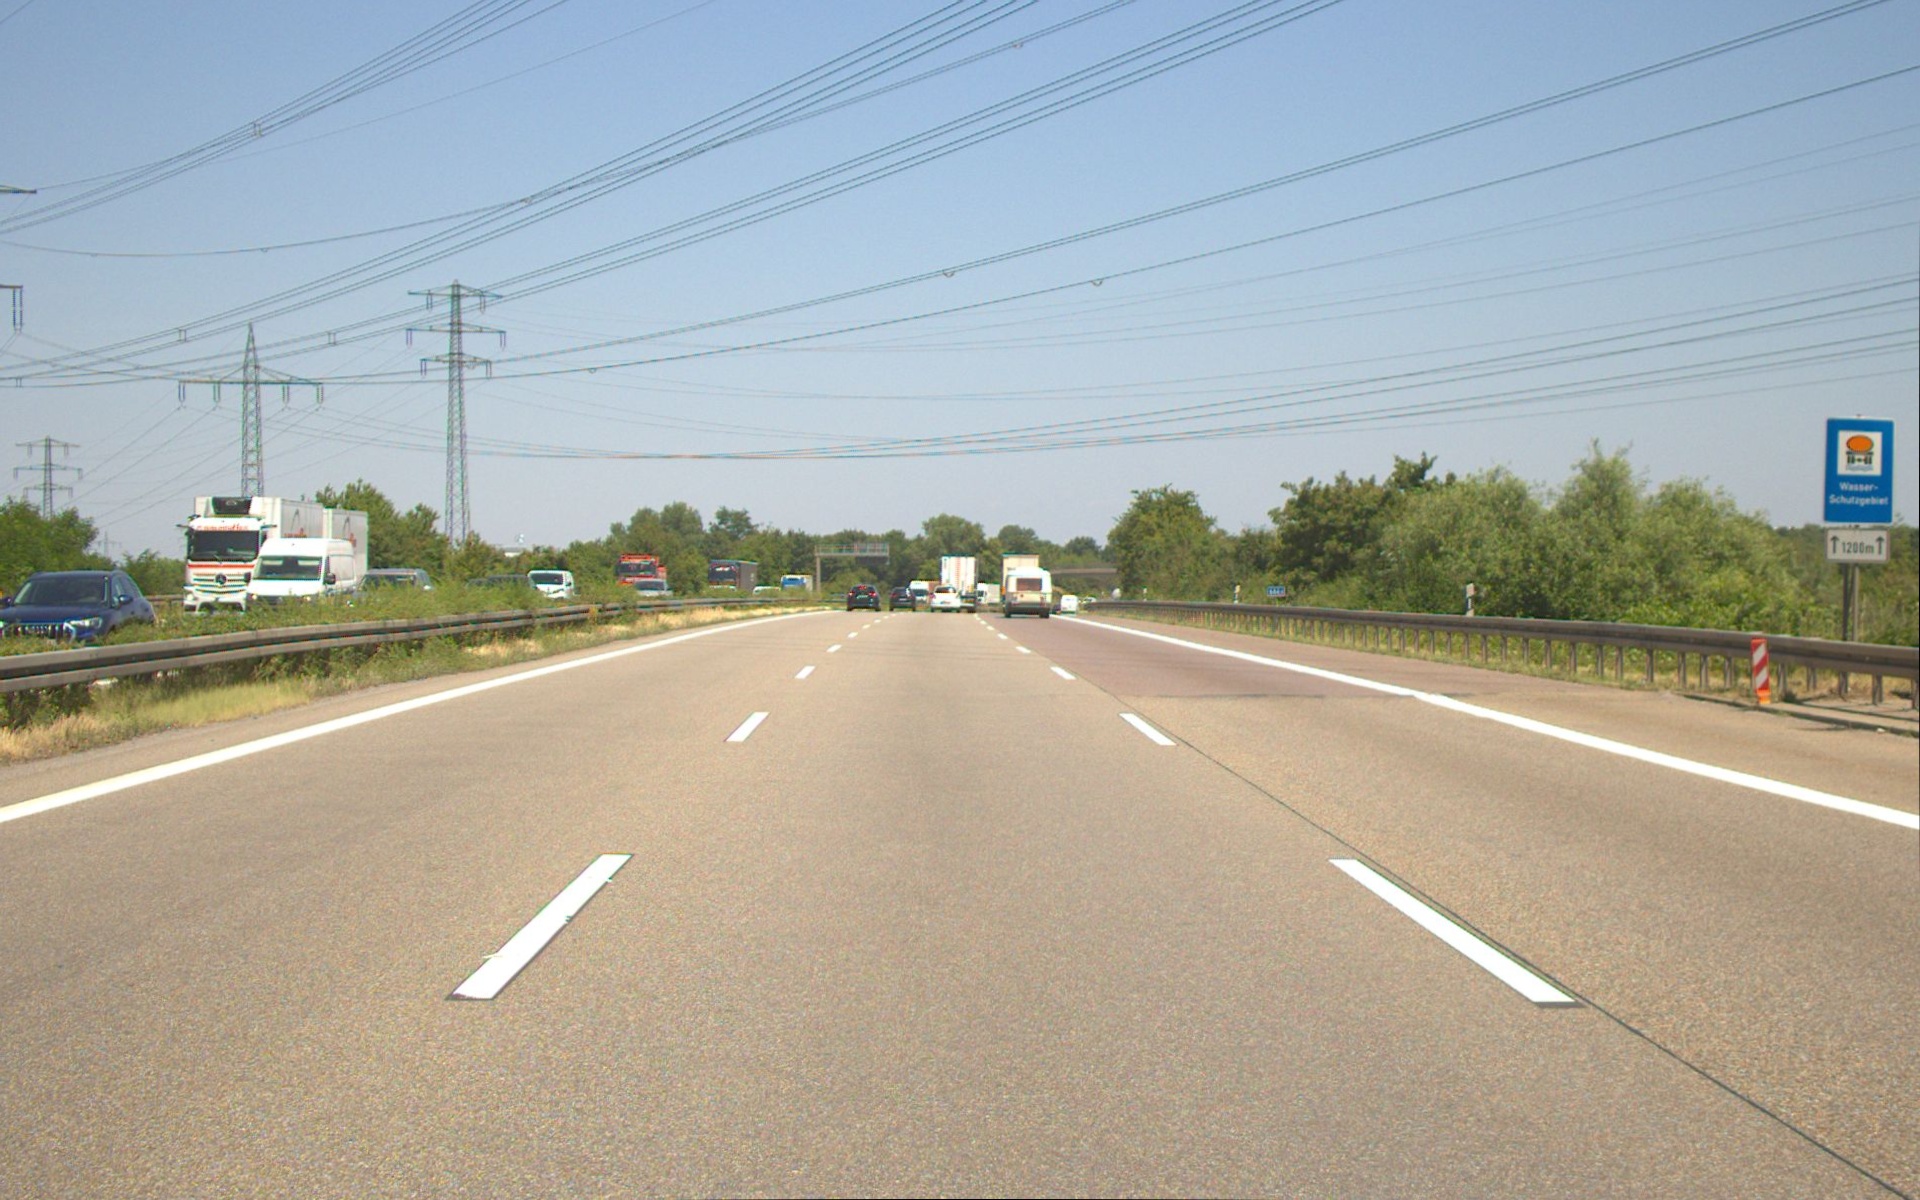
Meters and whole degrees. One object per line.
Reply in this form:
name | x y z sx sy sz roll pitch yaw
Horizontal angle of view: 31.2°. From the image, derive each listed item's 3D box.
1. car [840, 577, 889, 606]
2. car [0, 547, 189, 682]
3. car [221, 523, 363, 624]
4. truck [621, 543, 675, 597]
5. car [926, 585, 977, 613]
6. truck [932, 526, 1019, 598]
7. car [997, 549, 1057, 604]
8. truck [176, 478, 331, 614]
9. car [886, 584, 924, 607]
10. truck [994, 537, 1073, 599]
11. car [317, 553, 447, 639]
car | -5.194 -0.457 188.122 1.828 1.542 4.317 2 0 10
car | -13.819 0.169 53.248 2.482 1.925 5.739 1 1 -1
car | -17.933 -0.745 92.714 2.482 2.571 7.122 1 1 -1
truck | -20.980 -2.063 231.371 2.770 3.515 8.533 1 1 0
car | -0.468 -0.072 196.994 1.829 1.542 4.316 2 0 14
truck | 1.241 -2.807 251.645 3.668 5.001 16.011 2 1 10
car | 2.910 -1.053 149.883 2.442 2.313 5.322 0 1 -1
truck | -21.719 -1.673 106.279 2.692 3.936 10.594 1 1 -1
car | -3.858 -0.325 242.164 1.828 1.542 4.317 2 0 10
truck | 5.394 -2.333 248.339 3.182 4.290 16.010 2 1 10
car | -14.339 -0.125 85.519 2.482 2.007 4.557 1 1 -1
